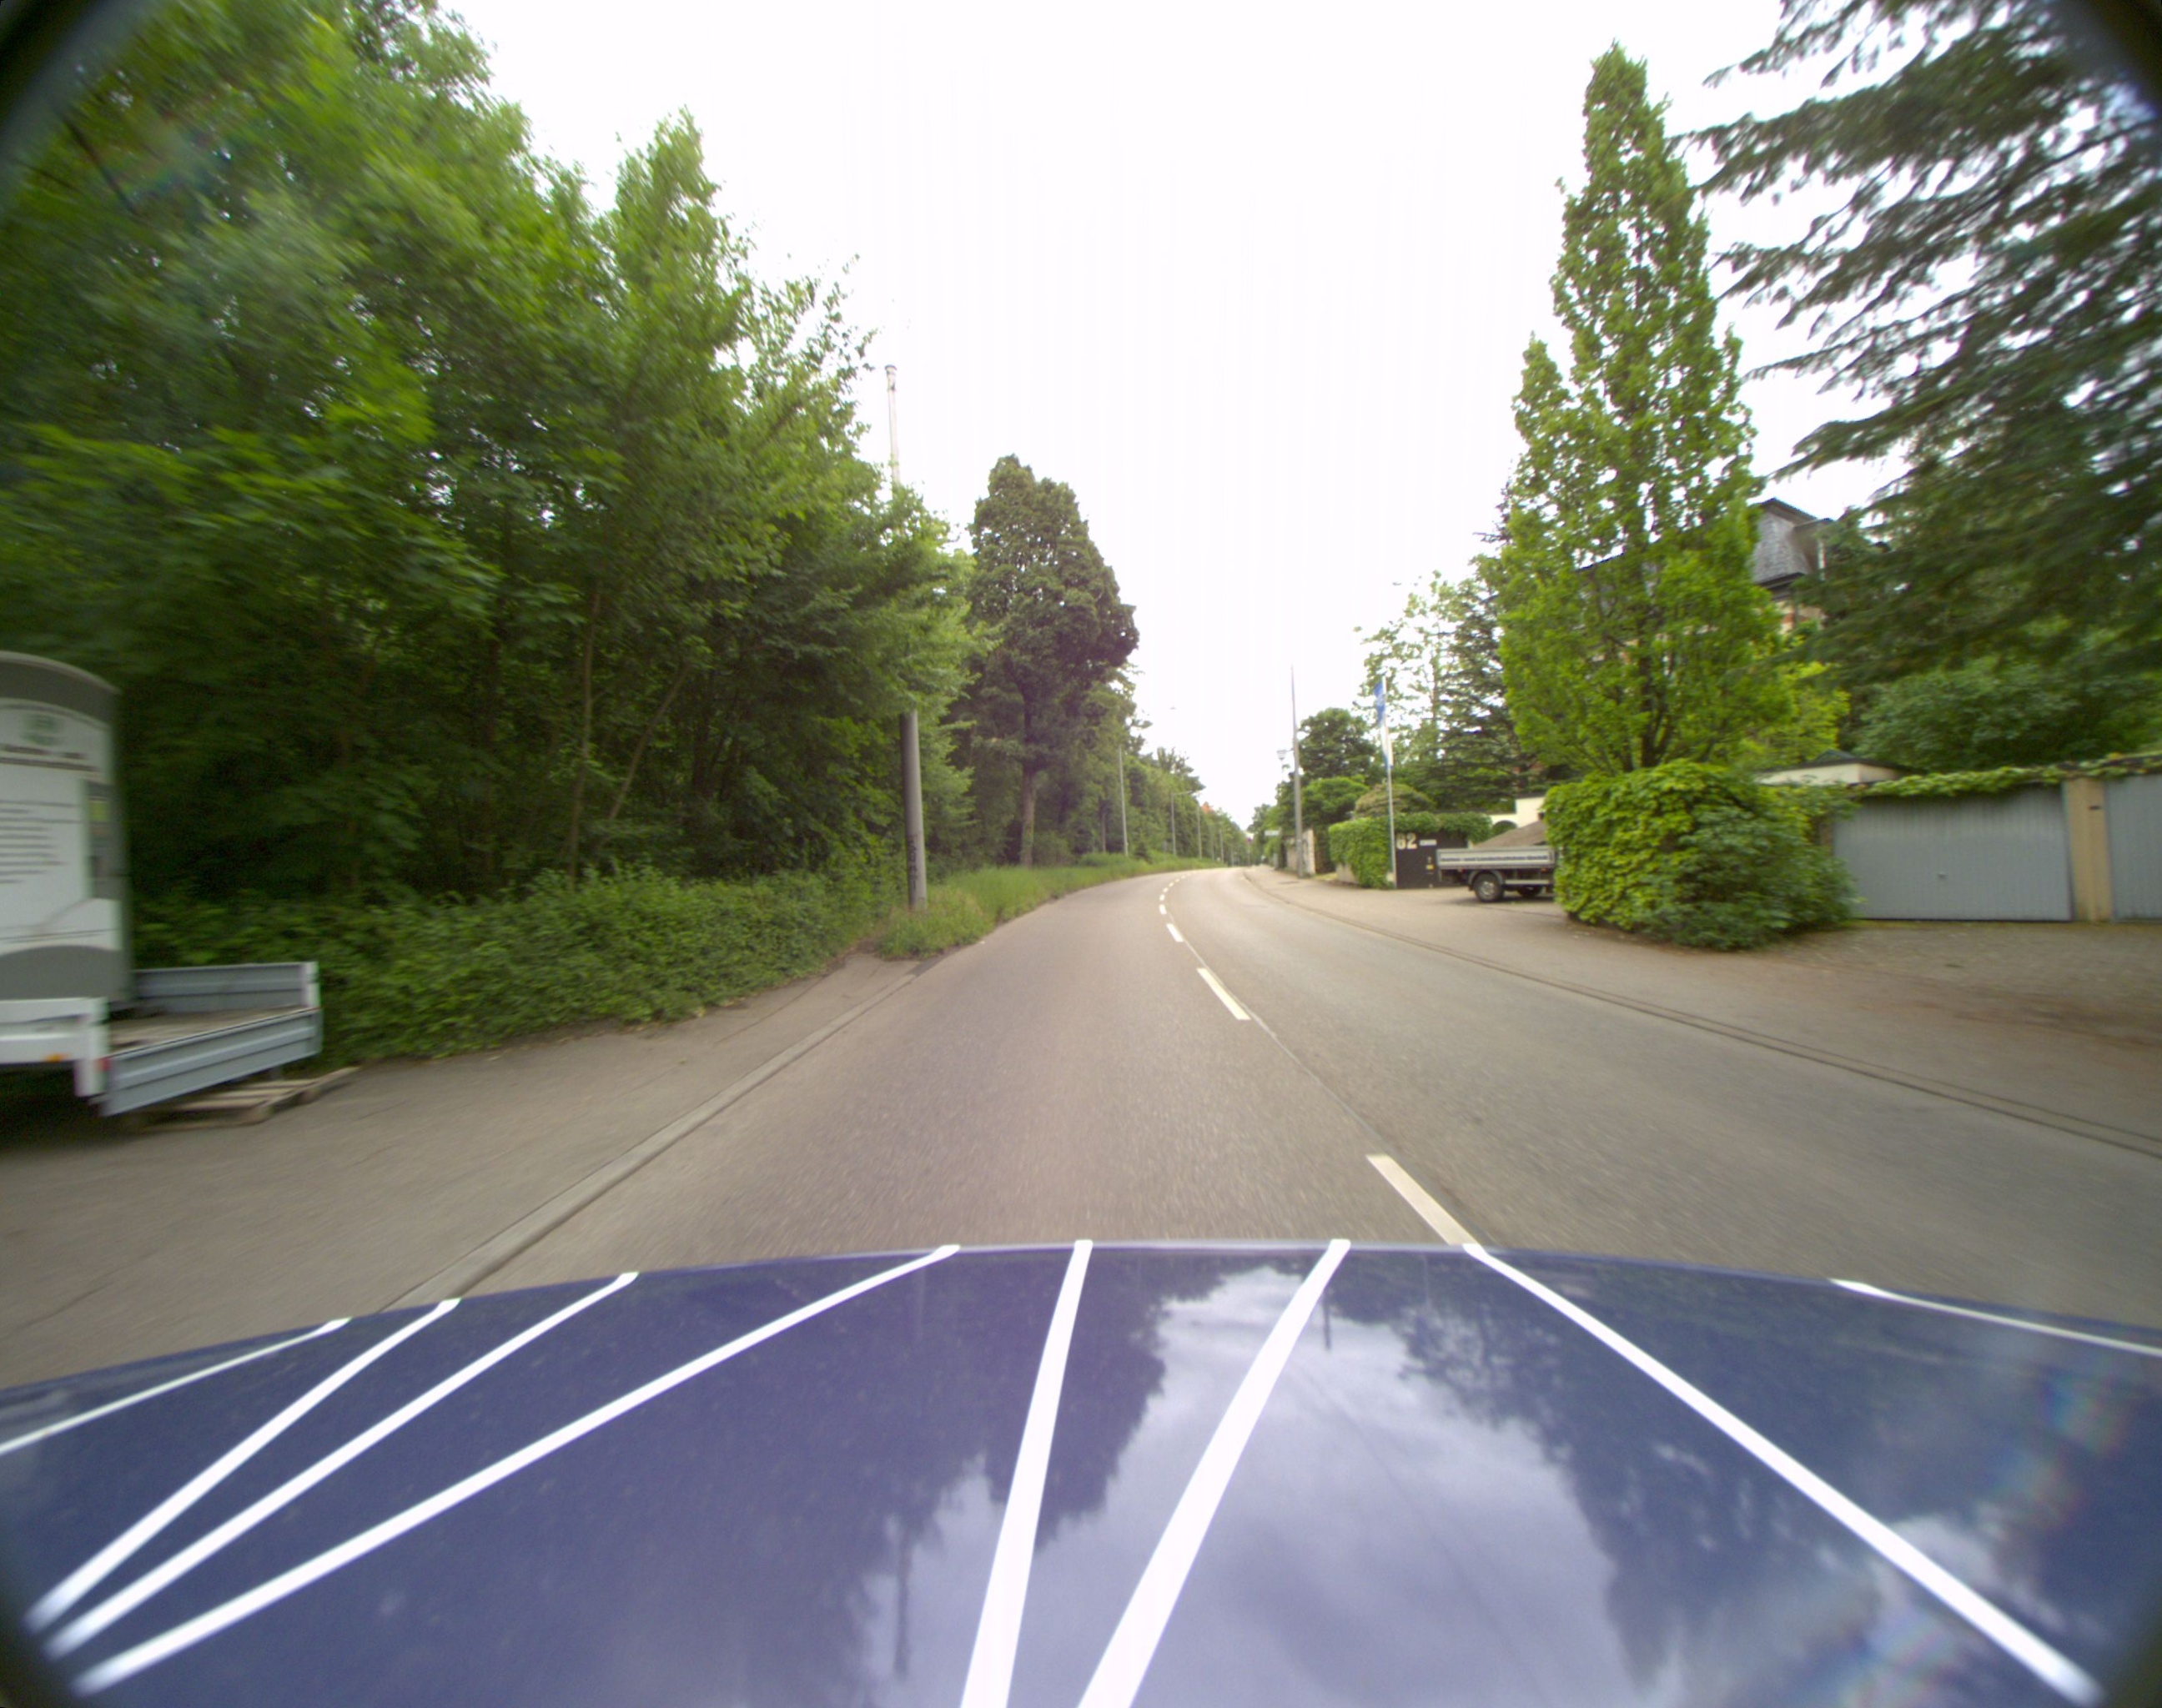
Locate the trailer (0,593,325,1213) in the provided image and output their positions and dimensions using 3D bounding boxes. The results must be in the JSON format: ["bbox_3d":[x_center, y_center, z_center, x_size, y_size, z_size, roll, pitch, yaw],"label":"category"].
[{"bbox_3d":[-6.609,0.248,4.196,3.125,2.883,1.592,-1,1,-2],"label":"trailer"}]

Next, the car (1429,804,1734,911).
[{"bbox_3d":[11.282,0.079,17.638,2.429,2.061,5.349,-2,0,-29],"label":"car"}]
